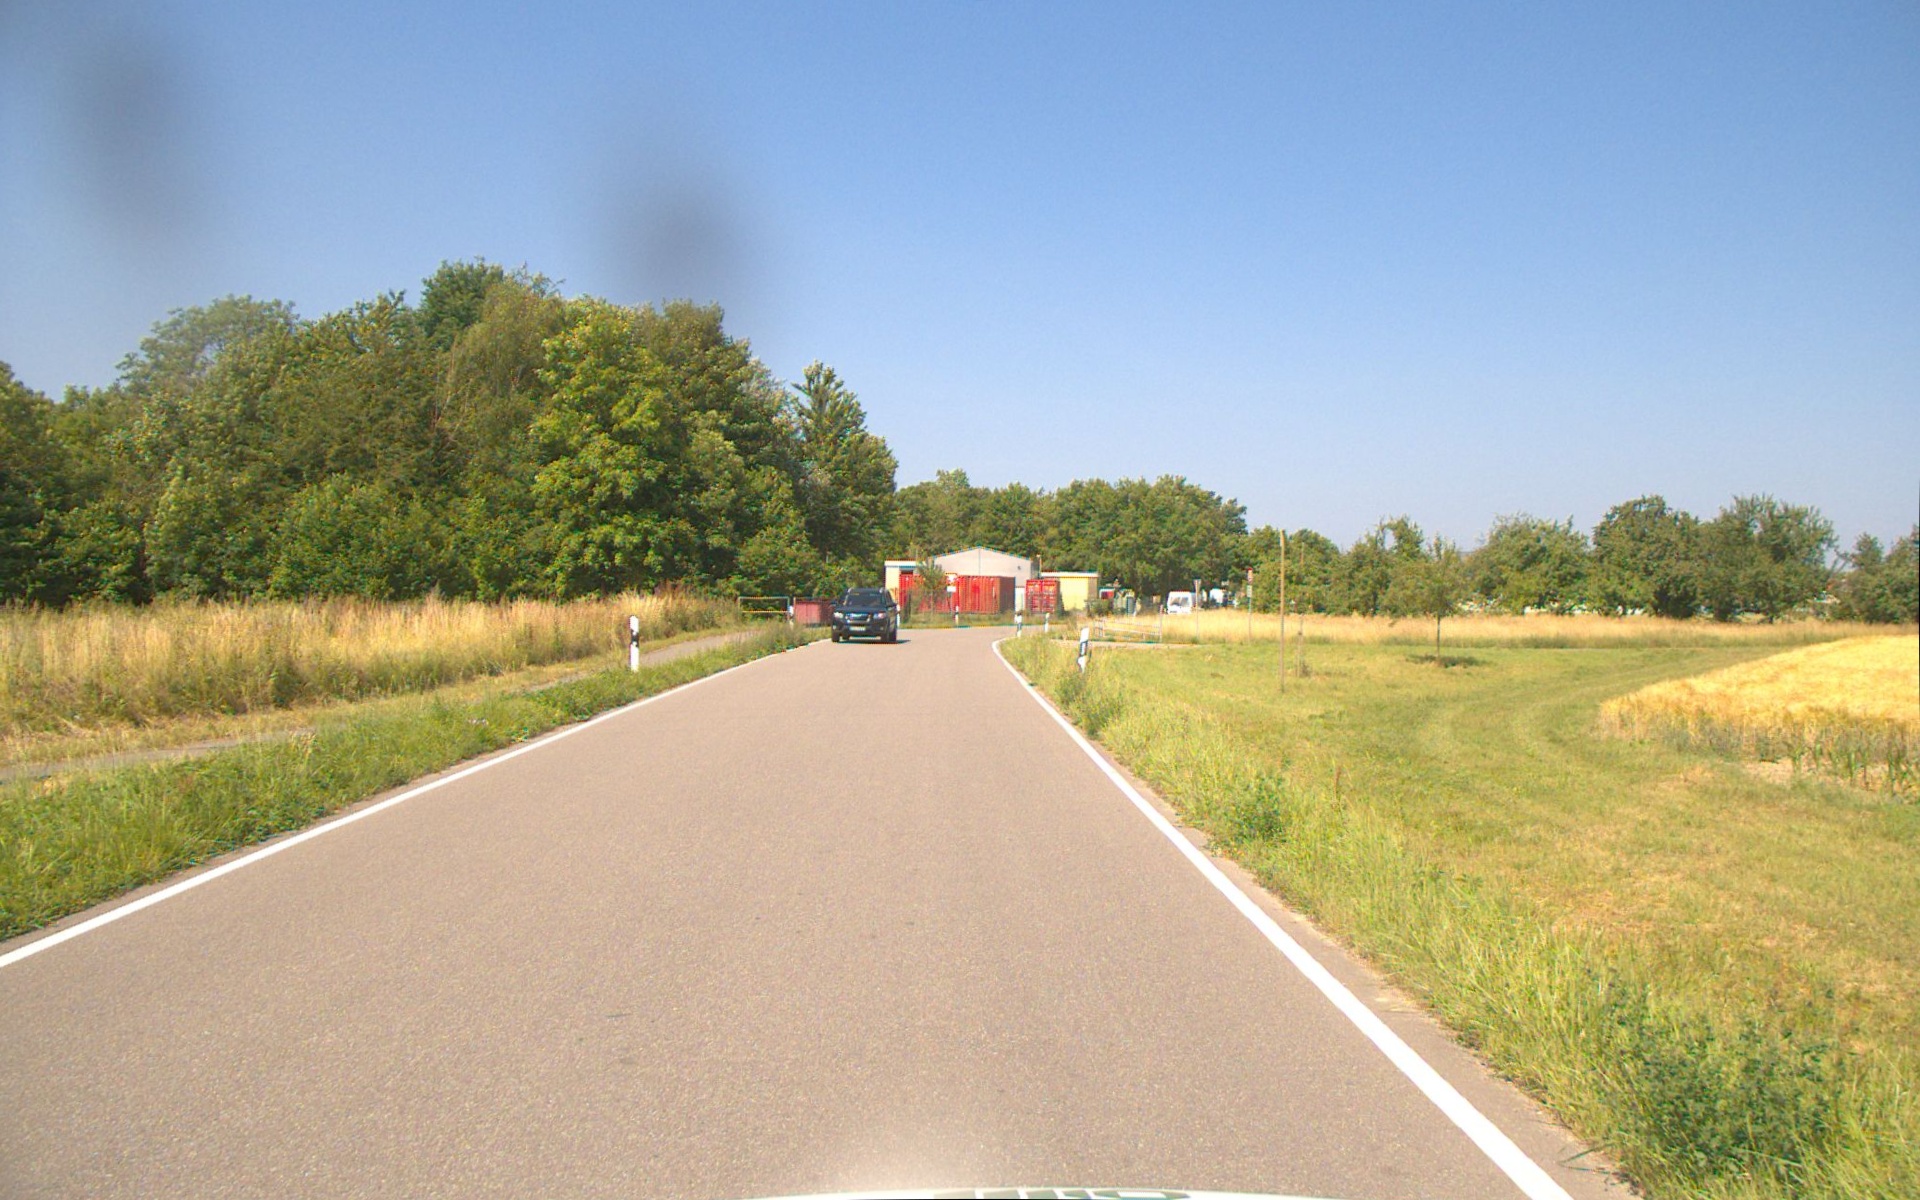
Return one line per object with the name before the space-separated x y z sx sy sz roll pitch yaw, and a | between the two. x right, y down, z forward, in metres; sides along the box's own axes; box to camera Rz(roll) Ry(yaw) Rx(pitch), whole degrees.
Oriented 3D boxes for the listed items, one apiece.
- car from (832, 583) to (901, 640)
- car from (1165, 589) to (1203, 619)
car | -3.046 0.369 54.602 1.827 1.783 4.298 0 0 3
car | 17.392 0.309 128.052 1.952 2.306 4.727 1 0 20
